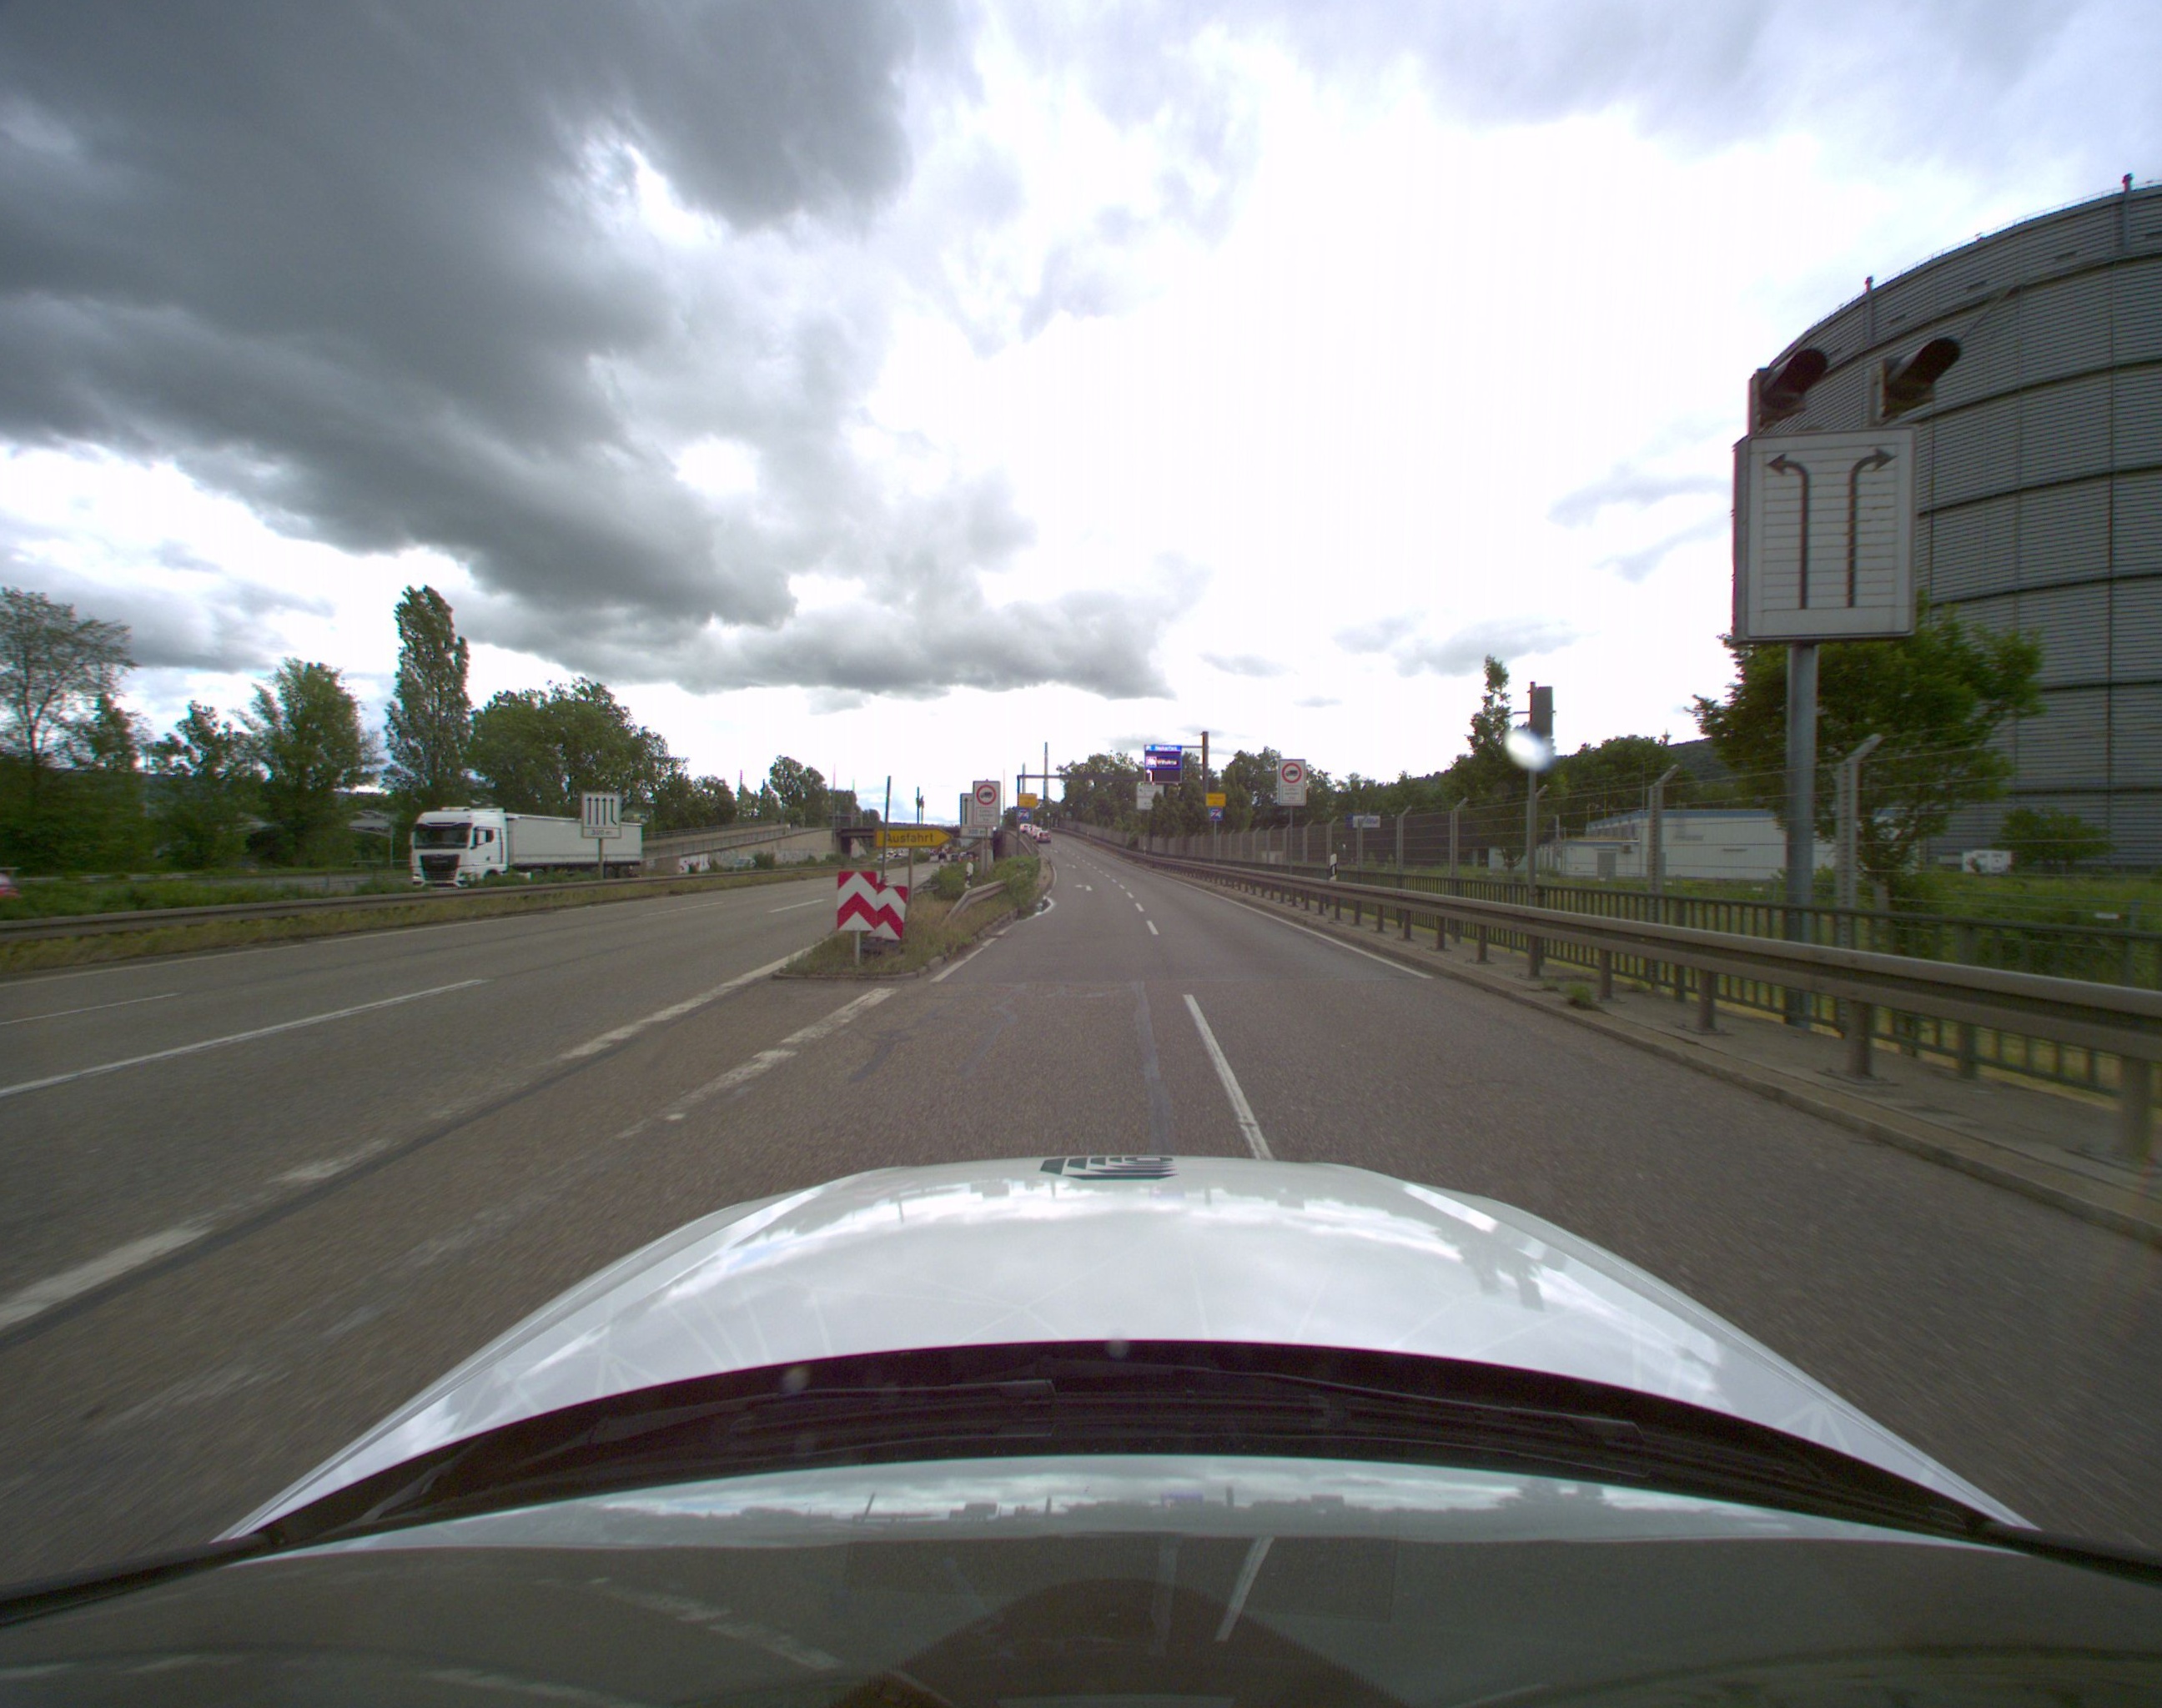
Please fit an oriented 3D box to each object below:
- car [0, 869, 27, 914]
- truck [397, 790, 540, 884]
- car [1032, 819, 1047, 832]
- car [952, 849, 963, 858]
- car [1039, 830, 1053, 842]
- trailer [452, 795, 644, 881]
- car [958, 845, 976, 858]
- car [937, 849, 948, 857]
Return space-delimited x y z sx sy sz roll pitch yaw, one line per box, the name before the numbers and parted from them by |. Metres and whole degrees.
car | -34.427 1.237 24.190 1.649 1.361 3.609 -1 2 -6
truck | -27.564 -0.725 36.959 2.786 3.937 5.302 1 0 -6
car | -6.107 -4.152 119.029 1.991 1.602 3.993 -1 5 -7
car | -25.439 -0.063 167.811 1.989 1.683 3.996 1 2 -4
car | -4.623 -2.334 107.816 1.744 1.580 4.084 1 1 0
trailer | -28.297 -0.821 44.485 2.786 3.948 13.487 1 1 -6
car | -14.112 -0.340 100.754 1.994 1.420 3.987 1 2 -10
car | -31.105 -0.243 183.203 1.989 1.683 3.996 1 2 -4
